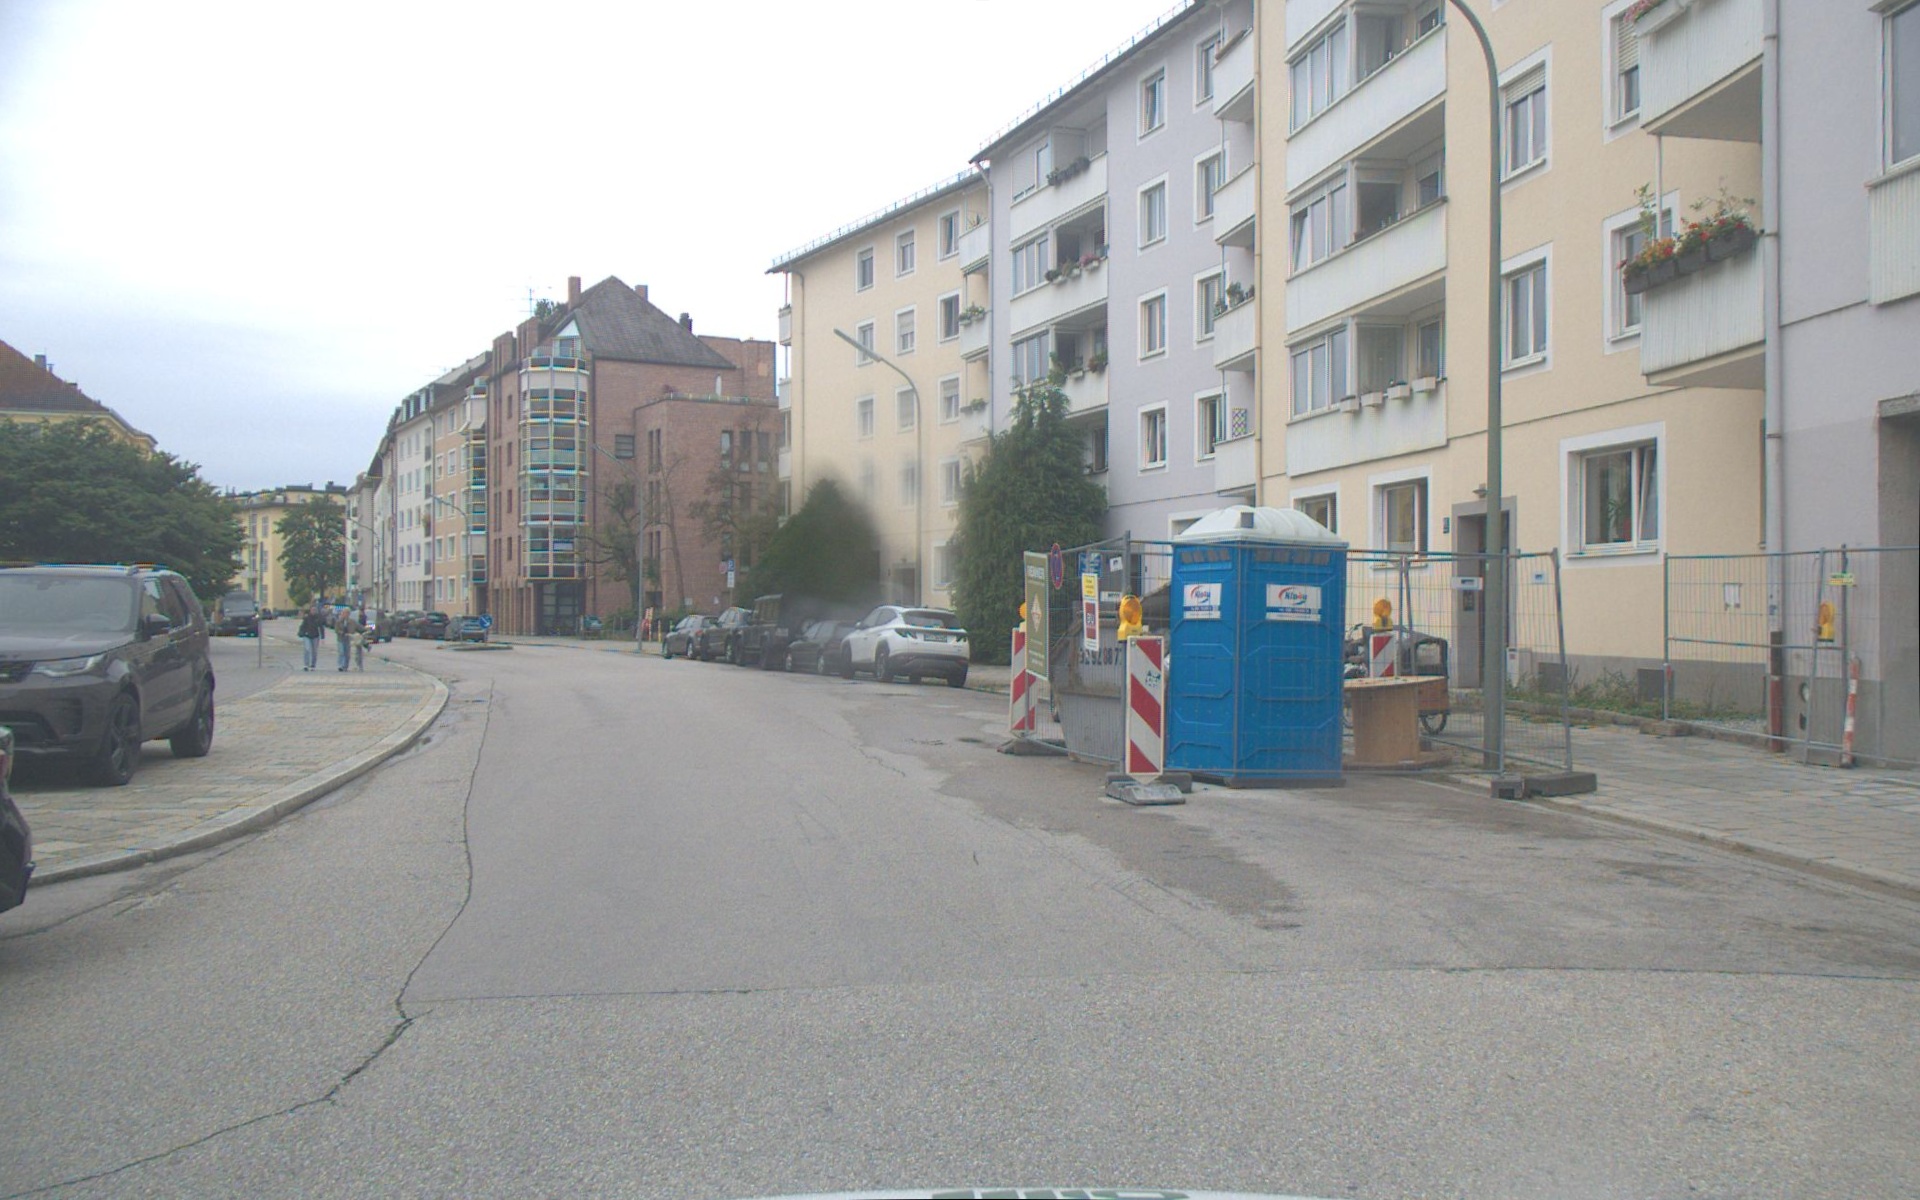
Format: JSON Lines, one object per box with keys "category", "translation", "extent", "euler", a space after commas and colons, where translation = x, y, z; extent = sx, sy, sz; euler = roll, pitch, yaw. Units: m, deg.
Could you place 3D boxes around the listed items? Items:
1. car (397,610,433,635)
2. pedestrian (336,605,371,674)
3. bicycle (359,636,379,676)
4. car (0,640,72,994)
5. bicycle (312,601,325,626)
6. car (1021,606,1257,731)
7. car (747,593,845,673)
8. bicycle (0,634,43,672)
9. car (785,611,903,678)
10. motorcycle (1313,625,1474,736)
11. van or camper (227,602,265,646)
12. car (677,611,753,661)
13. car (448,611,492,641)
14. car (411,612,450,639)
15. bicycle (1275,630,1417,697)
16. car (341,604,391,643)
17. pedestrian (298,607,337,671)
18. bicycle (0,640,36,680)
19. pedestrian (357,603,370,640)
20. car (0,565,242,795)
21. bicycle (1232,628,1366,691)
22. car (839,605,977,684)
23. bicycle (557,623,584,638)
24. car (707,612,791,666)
{"category": "car", "translation": [-32.991, 1.339, 100.073], "extent": [1.613, 1.509, 3.579], "euler": [0, 0, -26]}
{"category": "pedestrian", "translation": [-16.019, 1.042, 43.670], "extent": [0.722, 1.799, 0.918], "euler": [0, 0, -11]}
{"category": "bicycle", "translation": [-15.625, 1.471, 43.762], "extent": [0.382, 0.986, 1.708], "euler": [0, 0, -16]}
{"category": "car", "translation": [-5.859, 0.989, 6.439], "extent": [3.959, 1.446, 1.789], "euler": [-3, 0, -39]}
{"category": "bicycle", "translation": [-58.931, 1.215, 151.953], "extent": [1.011, 2.049, 3.258], "euler": [0, -5, -22]}
{"category": "car", "translation": [2.222, 0.815, 21.752], "extent": [1.751, 1.464, 4.266], "euler": [0, 0, -14]}
{"category": "car", "translation": [-4.466, 0.863, 44.605], "extent": [1.755, 2.011, 3.698], "euler": [-2, 0, -20]}
{"category": "bicycle", "translation": [-24.238, 1.309, 41.487], "extent": [2.090, 0.894, 0.821], "euler": [4, -2, -28]}
{"category": "car", "translation": [-2.887, 1.062, 40.473], "extent": [1.757, 1.545, 3.693], "euler": [1, -1, -23]}
{"category": "motorcycle", "translation": [5.286, 0.944, 20.374], "extent": [0.915, 1.242, 2.500], "euler": [0, 0, -11]}
{"category": "van or camper", "translation": [-43.118, 1.432, 99.894], "extent": [2.069, 2.596, 4.736], "euler": [0, -1, -24]}
{"category": "car", "translation": [-8.006, 1.152, 53.847], "extent": [1.754, 1.537, 3.698], "euler": [-1, 0, -20]}
{"category": "car", "translation": [-25.683, 1.342, 86.590], "extent": [1.613, 1.509, 3.579], "euler": [0, -1, -26]}
{"category": "car", "translation": [-30.643, 1.465, 95.634], "extent": [1.613, 1.509, 3.579], "euler": [0, -1, -26]}
{"category": "bicycle", "translation": [6.602, 1.070, 28.305], "extent": [2.193, 1.088, 0.917], "euler": [0, 0, -12]}
{"category": "car", "translation": [-29.682, 1.147, 82.543], "extent": [1.969, 1.867, 4.132], "euler": [0, 0, -26]}
{"category": "pedestrian", "translation": [-16.863, 1.026, 43.416], "extent": [0.747, 1.658, 0.919], "euler": [0, 0, -7]}
{"category": "bicycle", "translation": [-22.870, 1.377, 38.812], "extent": [2.006, 0.901, 0.669], "euler": [4, -2, -28]}
{"category": "pedestrian", "translation": [-23.951, 0.865, 66.371], "extent": [0.454, 1.486, 0.441], "euler": [0, -2, -16]}
{"category": "car", "translation": [-8.166, 0.648, 15.073], "extent": [2.016, 1.766, 4.871], "euler": [0, -1, -12]}
{"category": "bicycle", "translation": [6.085, 1.061, 29.752], "extent": [2.193, 1.088, 0.917], "euler": [0, 0, -12]}
{"category": "car", "translation": [-1.195, 0.919, 35.774], "extent": [1.804, 1.601, 3.975], "euler": [0, 0, -21]}
{"category": "bicycle", "translation": [-22.399, 1.750, 95.015], "extent": [1.089, 0.869, 1.711], "euler": [0, -1, -29]}
{"category": "car", "translation": [-6.371, 1.148, 49.703], "extent": [1.754, 1.537, 3.698], "euler": [0, -1, -20]}
